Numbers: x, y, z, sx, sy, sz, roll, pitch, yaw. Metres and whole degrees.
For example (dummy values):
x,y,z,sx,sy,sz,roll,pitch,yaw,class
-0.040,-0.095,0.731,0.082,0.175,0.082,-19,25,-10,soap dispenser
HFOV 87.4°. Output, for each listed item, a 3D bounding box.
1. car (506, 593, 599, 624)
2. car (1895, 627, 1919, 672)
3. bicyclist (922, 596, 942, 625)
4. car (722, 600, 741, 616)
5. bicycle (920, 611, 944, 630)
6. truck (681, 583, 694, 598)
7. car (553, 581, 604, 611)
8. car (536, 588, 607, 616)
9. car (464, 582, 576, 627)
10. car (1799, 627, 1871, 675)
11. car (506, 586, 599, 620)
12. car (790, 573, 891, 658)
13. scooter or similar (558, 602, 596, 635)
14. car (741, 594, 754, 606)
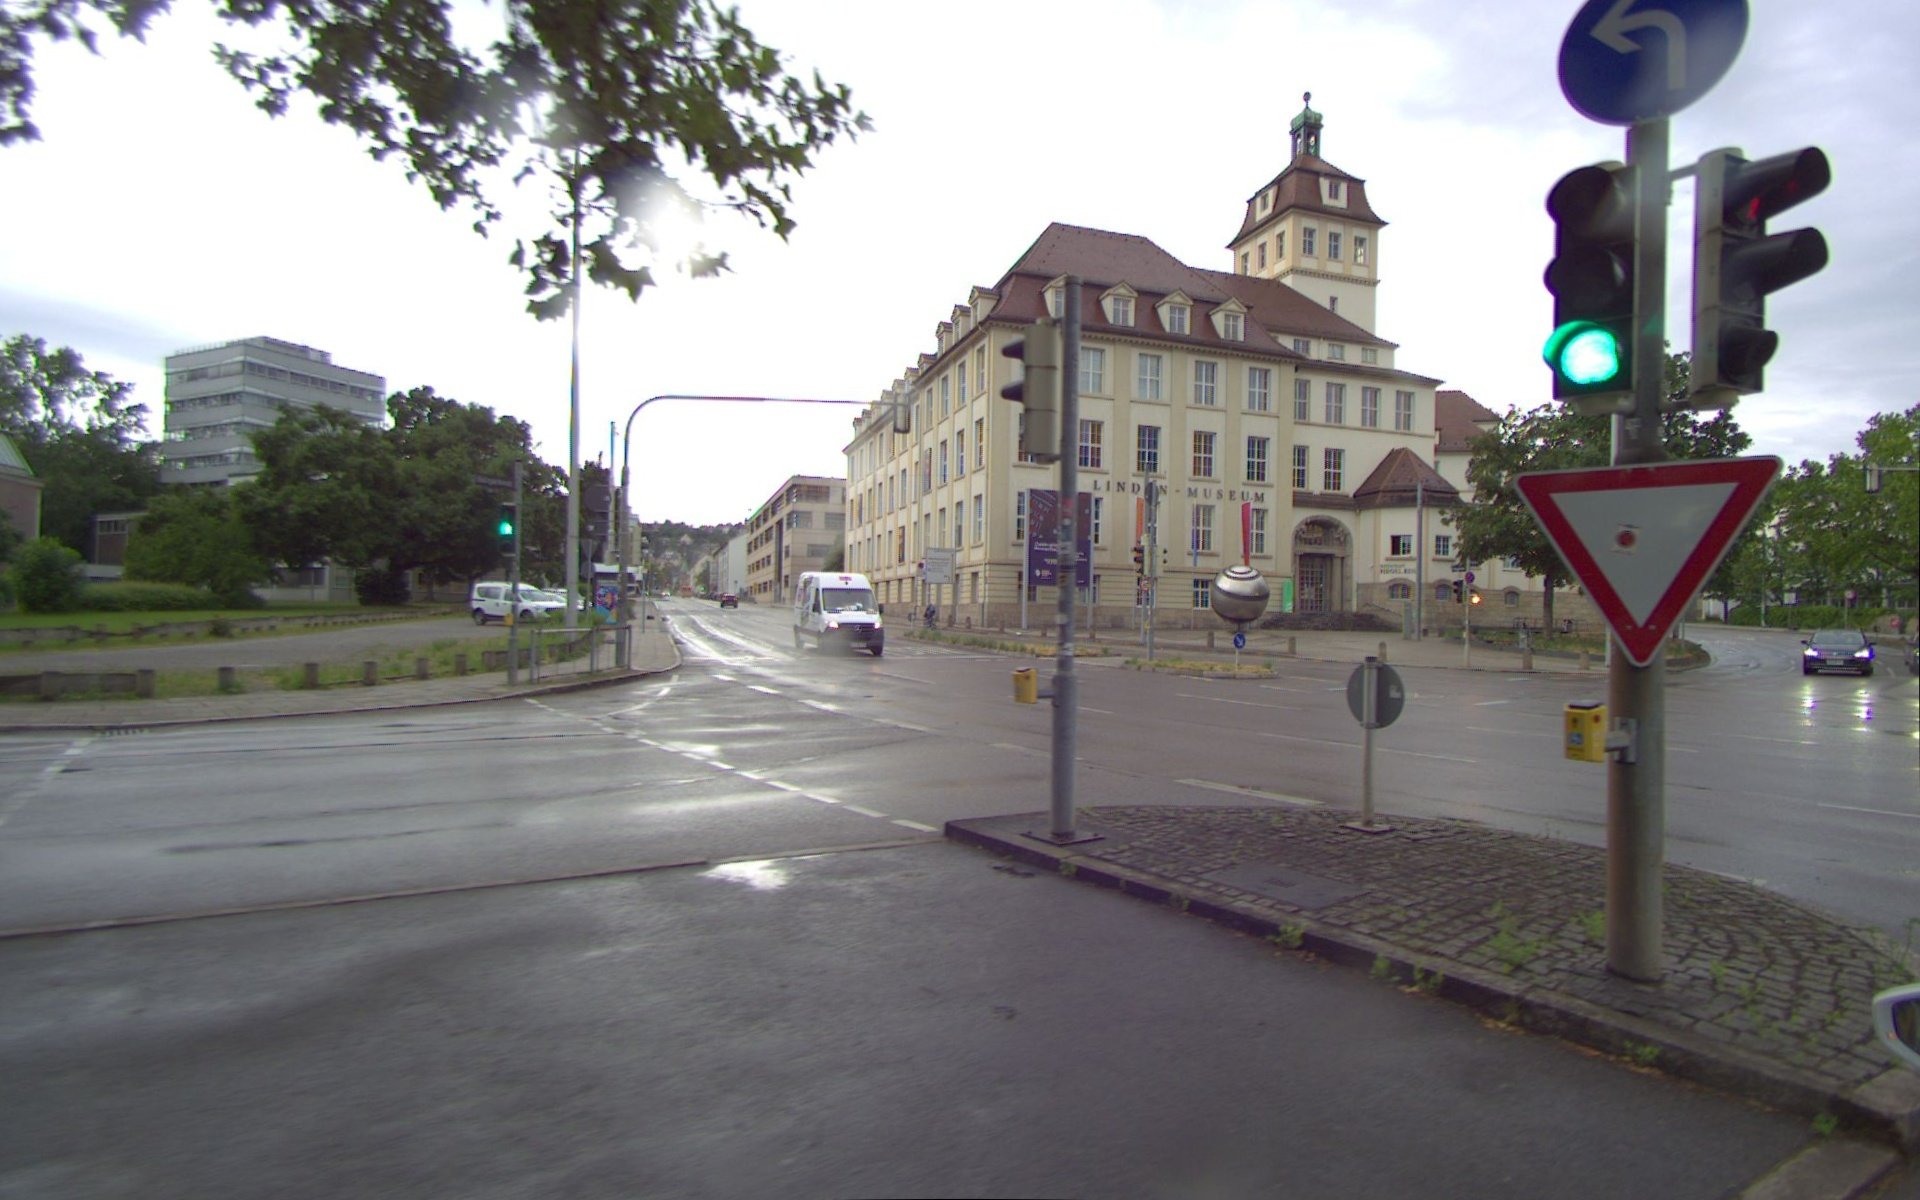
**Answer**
x,y,z,sx,sy,sz,roll,pitch,yaw,class
-20.307,0.435,50.135,3.993,1.461,1.855,1,-1,16,car
36.132,1.832,37.305,1.767,1.606,3.983,0,-1,39,car
-1.648,0.631,59.488,0.694,1.654,1.119,3,0,-29,bicyclist
-25.783,0.887,113.196,1.867,1.647,3.634,3,1,-15,car
-1.676,1.213,59.473,0.640,1.070,1.806,2,-1,-30,bicycle
-69.047,-2.407,254.467,3.125,3.425,6.478,3,0,-16,truck
-24.071,-0.216,63.309,1.838,1.765,4.030,2,-1,-39,car
-22.762,0.111,58.801,4.005,1.461,1.849,2,0,32,car
-18.621,0.206,42.523,4.420,1.791,1.833,1,-1,24,car
32.013,1.807,36.723,1.848,1.585,4.251,0,-1,43,car
-20.316,0.147,50.097,3.920,1.434,1.835,3,0,16,car
-4.066,0.462,33.166,2.034,2.527,6.011,0,0,-20,car
-13.863,0.673,36.418,0.541,1.182,1.253,3,0,20,scooter or similar
-34.541,-0.008,163.114,1.815,1.580,3.985,3,1,-16,car
